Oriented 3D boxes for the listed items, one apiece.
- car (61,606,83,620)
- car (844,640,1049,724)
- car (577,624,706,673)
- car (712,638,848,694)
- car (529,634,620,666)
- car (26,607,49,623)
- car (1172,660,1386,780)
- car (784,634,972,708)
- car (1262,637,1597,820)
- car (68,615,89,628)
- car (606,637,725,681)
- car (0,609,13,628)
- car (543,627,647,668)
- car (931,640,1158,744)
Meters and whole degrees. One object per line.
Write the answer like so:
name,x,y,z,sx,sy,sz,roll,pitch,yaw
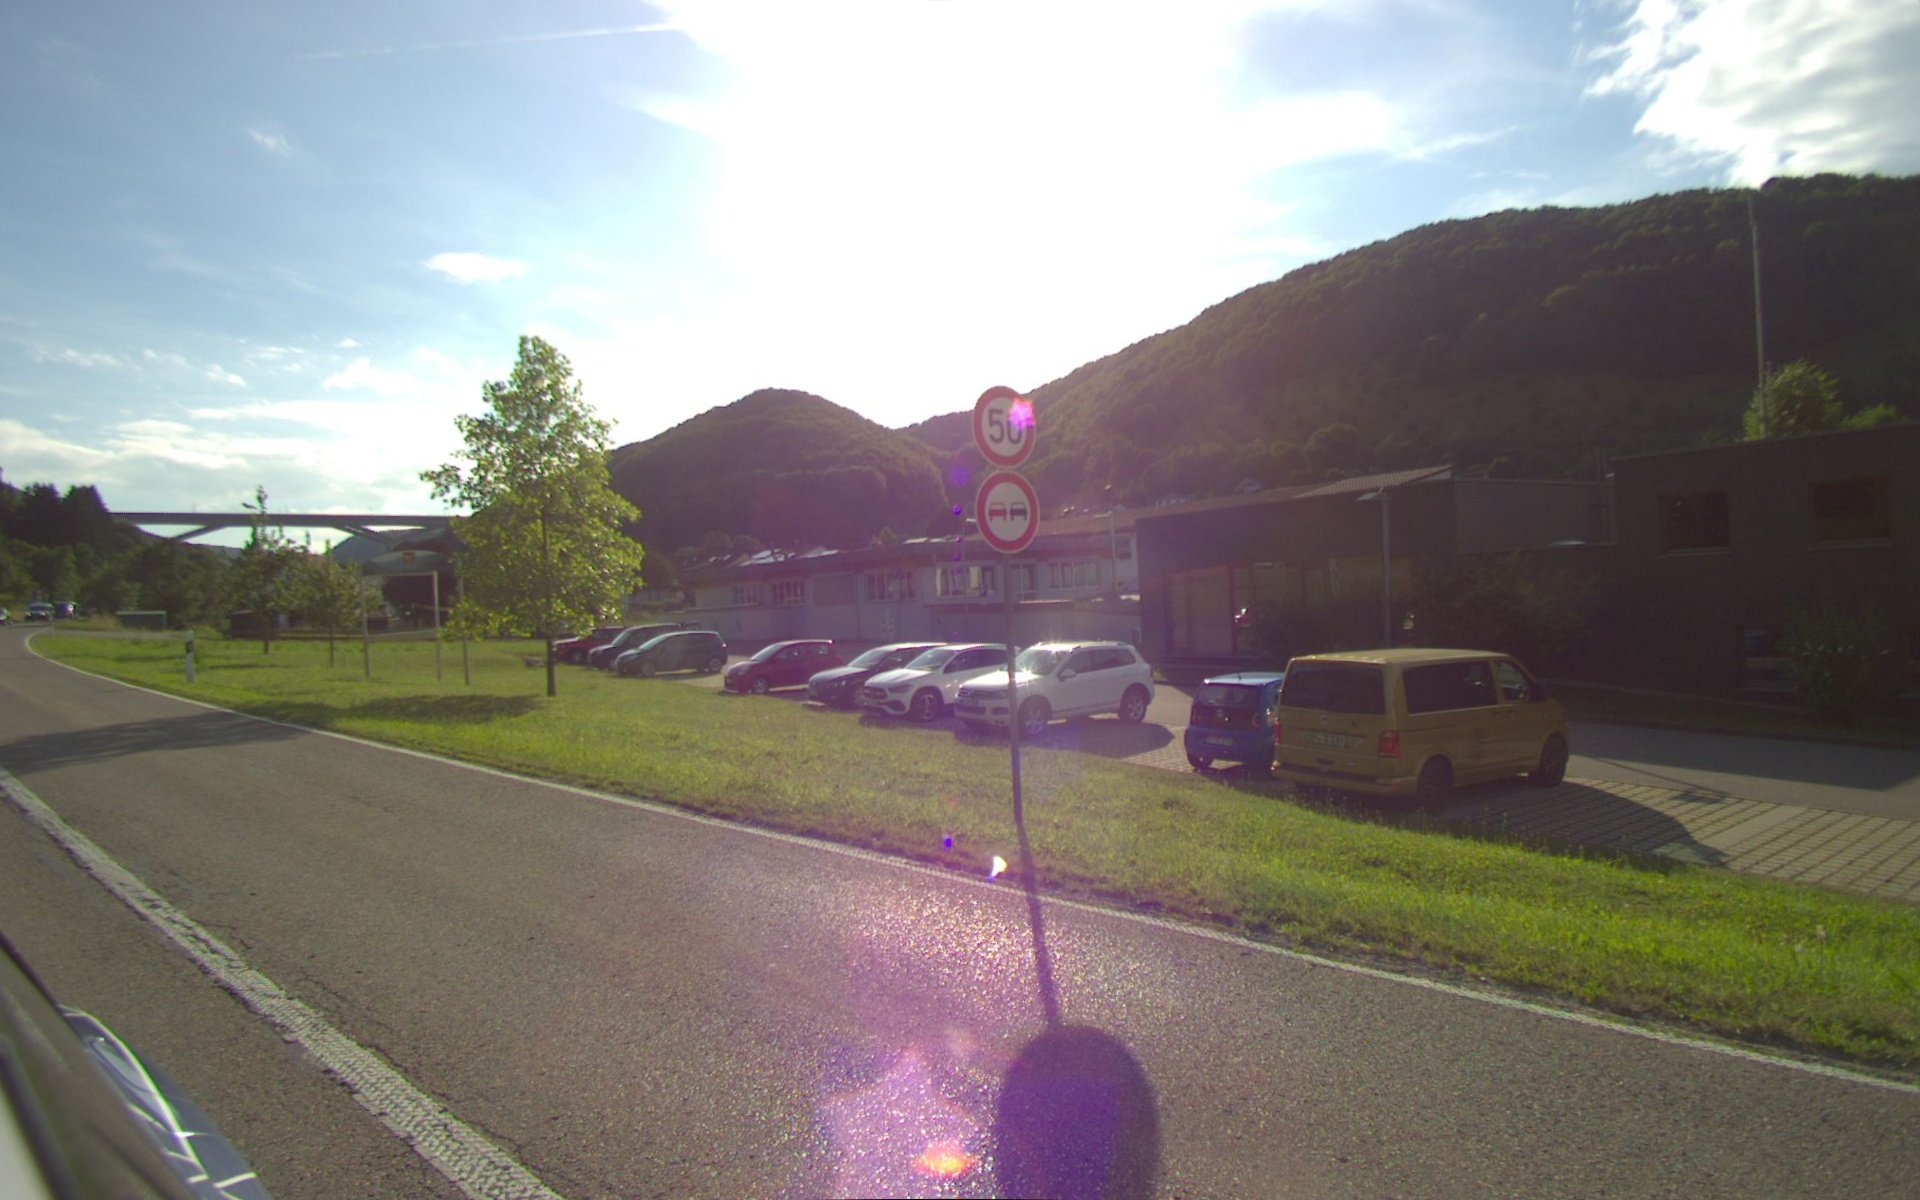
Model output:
car,-98.521,1.411,112.327,1.605,1.490,3.687,-1,0,-38
car,-0.261,1.835,23.681,4.479,1.566,2.004,-1,0,-37
car,-13.405,1.999,42.817,4.928,1.807,1.688,-1,0,-39
car,-5.329,1.927,30.157,3.672,1.408,1.619,-1,0,-37
car,-19.069,2.451,50.090,3.835,1.379,1.857,0,0,-36
car,-92.065,1.485,101.028,1.606,1.490,3.684,-1,0,-42
car,5.156,1.821,16.195,3.449,1.483,1.636,-1,0,-39
car,-2.083,1.767,26.299,4.479,1.566,2.004,-1,0,-37
car,6.395,1.547,13.645,4.548,1.882,2.005,-1,0,-33
car,-103.528,2.532,118.865,1.605,1.490,3.687,-1,0,-38
car,-11.094,2.197,38.221,3.956,1.463,1.688,-1,-2,-39
car,-81.380,1.564,85.520,1.605,1.490,3.687,-1,0,-38
car,-16.953,2.189,47.063,4.262,1.682,1.853,-1,0,-33
car,1.801,1.785,20.866,4.479,1.716,2.004,-1,0,-37
